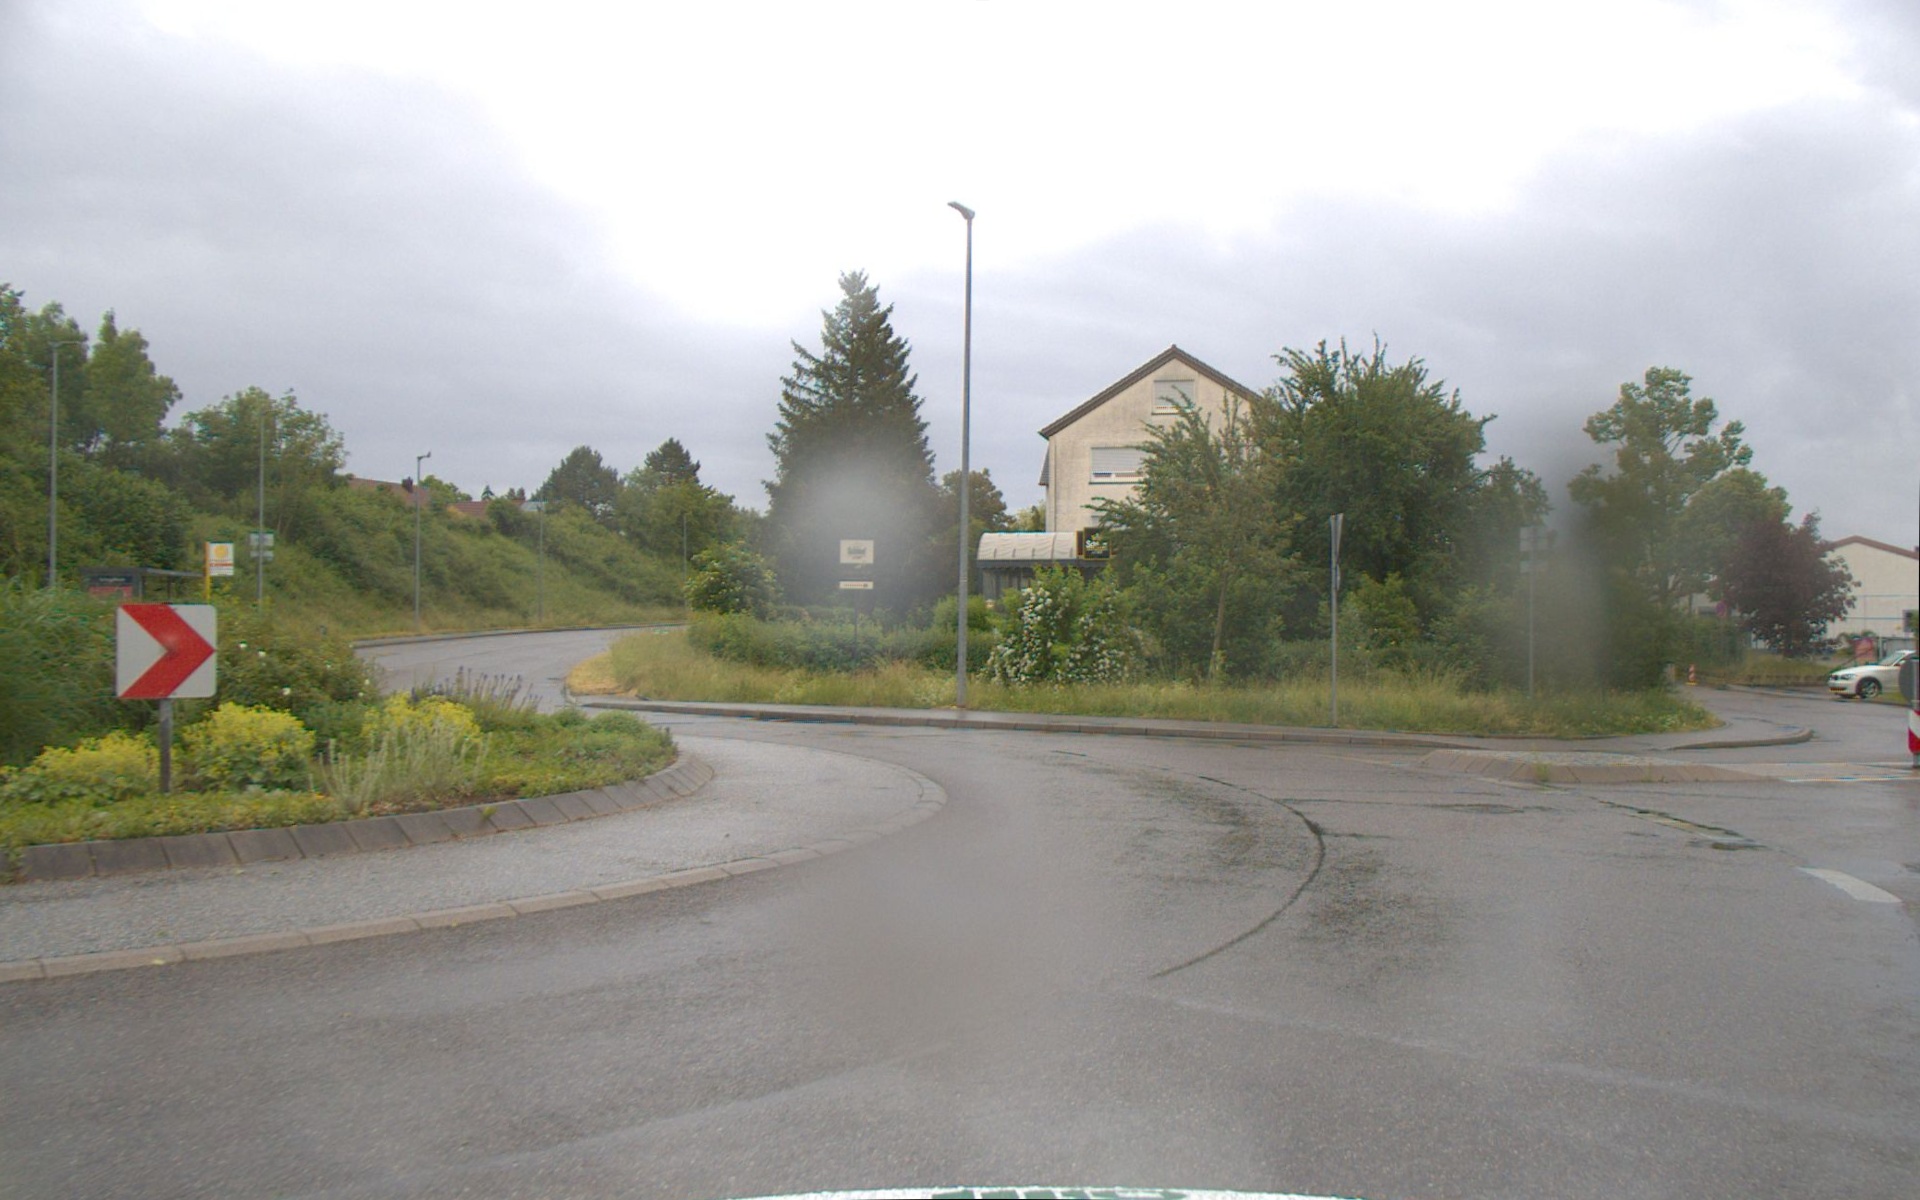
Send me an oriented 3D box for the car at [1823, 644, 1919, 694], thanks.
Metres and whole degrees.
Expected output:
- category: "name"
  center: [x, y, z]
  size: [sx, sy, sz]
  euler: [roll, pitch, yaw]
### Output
- category: "car"
  center: [27.823, 2.051, 48.768]
  size: [3.902, 1.398, 1.785]
  euler: [1, -2, 13]
